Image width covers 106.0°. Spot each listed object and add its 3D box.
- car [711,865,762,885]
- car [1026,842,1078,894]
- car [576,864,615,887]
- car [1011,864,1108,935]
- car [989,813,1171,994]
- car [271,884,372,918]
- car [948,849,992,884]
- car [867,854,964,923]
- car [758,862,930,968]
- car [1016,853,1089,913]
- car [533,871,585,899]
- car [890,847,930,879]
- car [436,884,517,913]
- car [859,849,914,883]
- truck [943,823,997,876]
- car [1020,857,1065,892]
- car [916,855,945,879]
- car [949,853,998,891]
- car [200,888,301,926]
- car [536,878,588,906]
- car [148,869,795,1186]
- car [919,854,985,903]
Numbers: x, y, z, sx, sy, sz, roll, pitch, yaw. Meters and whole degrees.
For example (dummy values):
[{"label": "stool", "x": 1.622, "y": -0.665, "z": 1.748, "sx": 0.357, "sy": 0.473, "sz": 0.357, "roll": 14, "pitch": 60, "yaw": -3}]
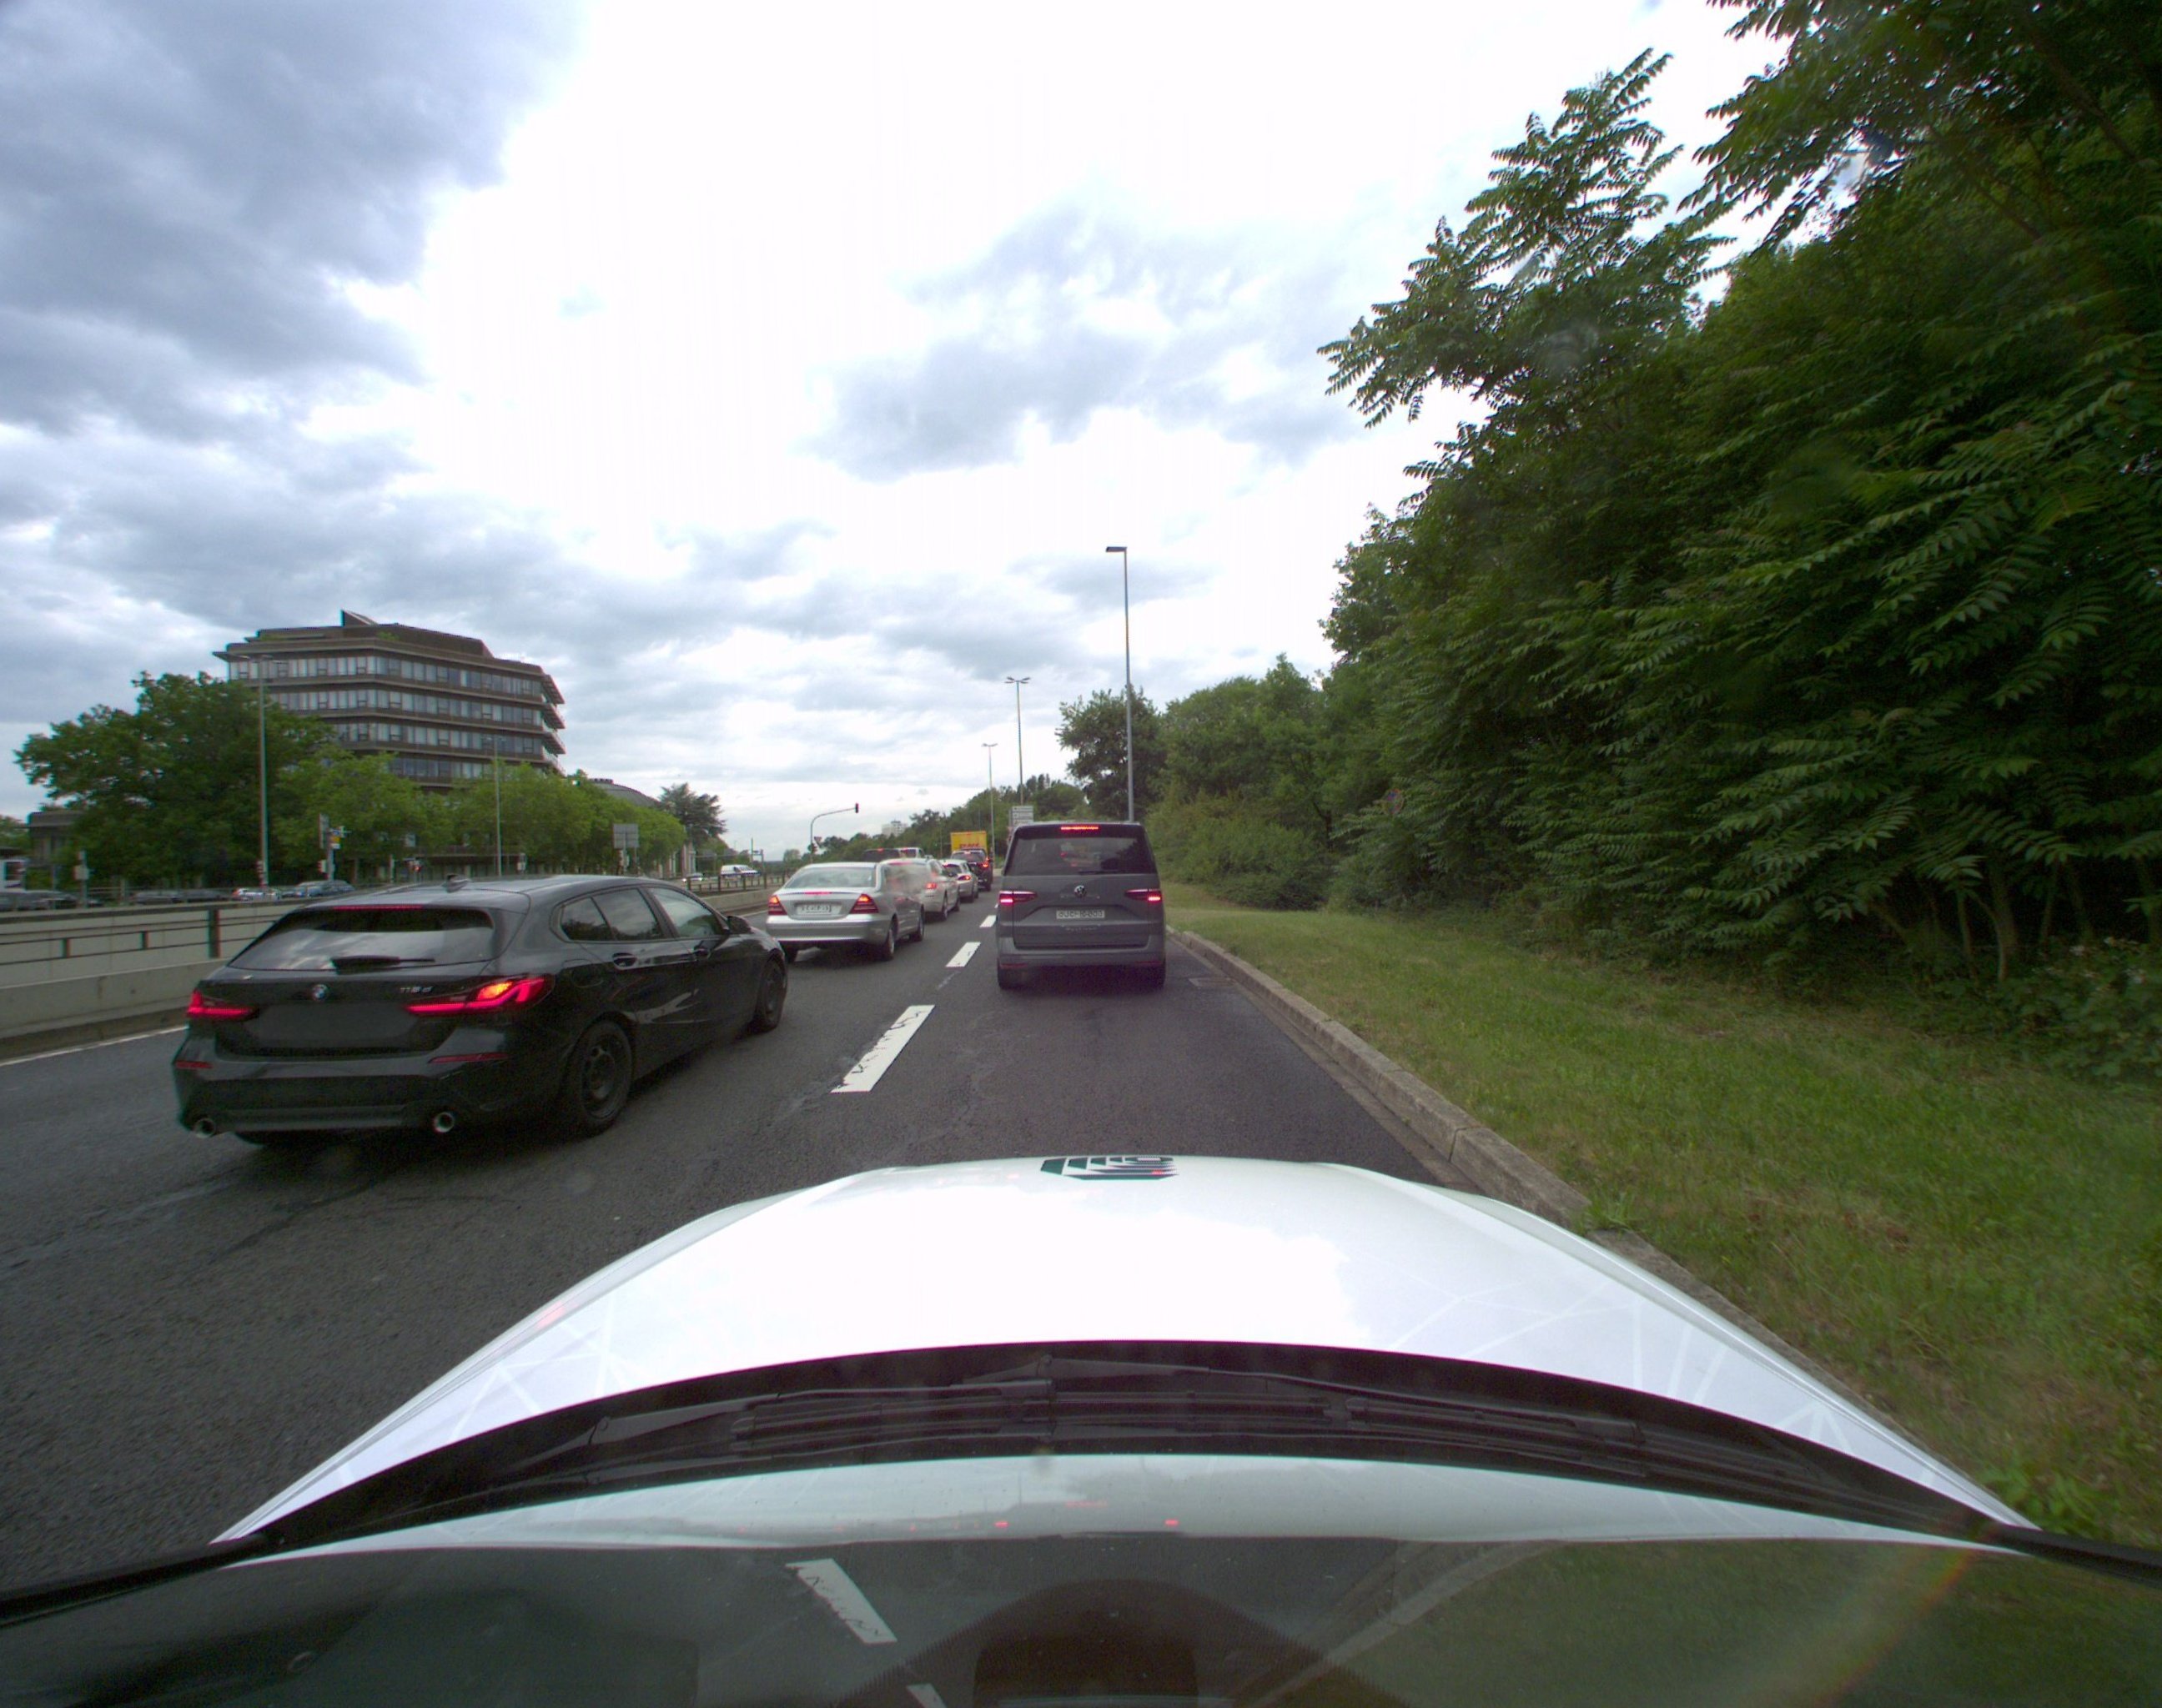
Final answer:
[{"label": "car", "x": -35.564, "y": 2.175, "z": 84.159, "sx": 4.752, "sy": 2.013, "sz": 2.011, "roll": -1, "pitch": 0, "yaw": 22}, {"label": "car", "x": -1.155, "y": 0.523, "z": 31.648, "sx": 1.880, "sy": 1.880, "sz": 4.425, "roll": 0, "pitch": -1, "yaw": -3}, {"label": "car", "x": -56.533, "y": 2.458, "z": 94.958, "sx": 2.338, "sy": 2.460, "sz": 5.203, "roll": -1, "pitch": 0, "yaw": -13}, {"label": "car", "x": -0.405, "y": 0.909, "z": 17.857, "sx": 1.879, "sy": 1.356, "sz": 3.999, "roll": 0, "pitch": -1, "yaw": 0}, {"label": "car", "x": 0.012, "y": 0.538, "z": 10.747, "sx": 1.892, "sy": 1.884, "sz": 4.415, "roll": 0, "pitch": -1, "yaw": 0}, {"label": "car", "x": -44.222, "y": 2.683, "z": 47.581, "sx": 1.844, "sy": 1.713, "sz": 4.290, "roll": -1, "pitch": 0, "yaw": 0}, {"label": "car", "x": -5.688, "y": 0.637, "z": 42.223, "sx": 1.880, "sy": 1.700, "sz": 4.425, "roll": 0, "pitch": -1, "yaw": -3}, {"label": "car", "x": -3.981, "y": 0.781, "z": 20.225, "sx": 1.619, "sy": 1.495, "sz": 4.543, "roll": 0, "pitch": -1, "yaw": -2}, {"label": "car", "x": -3.575, "y": 0.833, "z": 13.059, "sx": 1.619, "sy": 1.395, "sz": 4.305, "roll": 0, "pitch": -1, "yaw": -2}, {"label": "car", "x": -0.733, "y": 0.771, "z": 23.181, "sx": 1.879, "sy": 1.545, "sz": 3.999, "roll": 0, "pitch": -1, "yaw": 0}, {"label": "car", "x": -51.004, "y": 2.983, "z": 79.734, "sx": 2.334, "sy": 2.460, "sz": 5.211, "roll": -1, "pitch": 0, "yaw": -9}, {"label": "car", "x": -9.496, "y": 0.507, "z": 45.426, "sx": 1.621, "sy": 1.701, "sz": 4.289, "roll": 0, "pitch": -1, "yaw": -5}, {"label": "car", "x": -46.370, "y": 3.365, "z": 62.686, "sx": 2.328, "sy": 1.949, "sz": 5.225, "roll": -1, "pitch": 0, "yaw": -1}, {"label": "car", "x": -8.898, "y": 0.544, "z": 37.501, "sx": 1.619, "sy": 1.495, "sz": 4.293, "roll": 0, "pitch": -1, "yaw": -2}, {"label": "truck", "x": -6.996, "y": -0.193, "z": 52.454, "sx": 2.917, "sy": 3.043, "sz": 9.325, "roll": -2, "pitch": -1, "yaw": -5}, {"label": "car", "x": -1.743, "y": 0.909, "z": 38.266, "sx": 1.879, "sy": 1.545, "sz": 3.999, "roll": 0, "pitch": -1, "yaw": 0}, {"label": "car", "x": -10.864, "y": 0.923, "z": 58.977, "sx": 1.621, "sy": 1.701, "sz": 4.289, "roll": 0, "pitch": -1, "yaw": -5}, {"label": "car", "x": -4.450, "y": 0.717, "z": 34.284, "sx": 1.619, "sy": 1.495, "sz": 4.293, "roll": 0, "pitch": -1, "yaw": -2}, {"label": "car", "x": -62.996, "y": 3.973, "z": 61.938, "sx": 5.256, "sy": 2.460, "sz": 2.314, "roll": -1, "pitch": 0, "yaw": -43}, {"label": "car", "x": -50.741, "y": 3.693, "z": 79.714, "sx": 2.334, "sy": 2.460, "sz": 5.212, "roll": -1, "pitch": 0, "yaw": -8}, {"label": "car", "x": -3.495, "y": 0.827, "z": 5.755, "sx": 1.619, "sy": 1.395, "sz": 3.997, "roll": 0, "pitch": -1, "yaw": -1}, {"label": "car", "x": -4.207, "y": 0.762, "z": 27.106, "sx": 1.619, "sy": 1.495, "sz": 4.293, "roll": 0, "pitch": -1, "yaw": -2}]
